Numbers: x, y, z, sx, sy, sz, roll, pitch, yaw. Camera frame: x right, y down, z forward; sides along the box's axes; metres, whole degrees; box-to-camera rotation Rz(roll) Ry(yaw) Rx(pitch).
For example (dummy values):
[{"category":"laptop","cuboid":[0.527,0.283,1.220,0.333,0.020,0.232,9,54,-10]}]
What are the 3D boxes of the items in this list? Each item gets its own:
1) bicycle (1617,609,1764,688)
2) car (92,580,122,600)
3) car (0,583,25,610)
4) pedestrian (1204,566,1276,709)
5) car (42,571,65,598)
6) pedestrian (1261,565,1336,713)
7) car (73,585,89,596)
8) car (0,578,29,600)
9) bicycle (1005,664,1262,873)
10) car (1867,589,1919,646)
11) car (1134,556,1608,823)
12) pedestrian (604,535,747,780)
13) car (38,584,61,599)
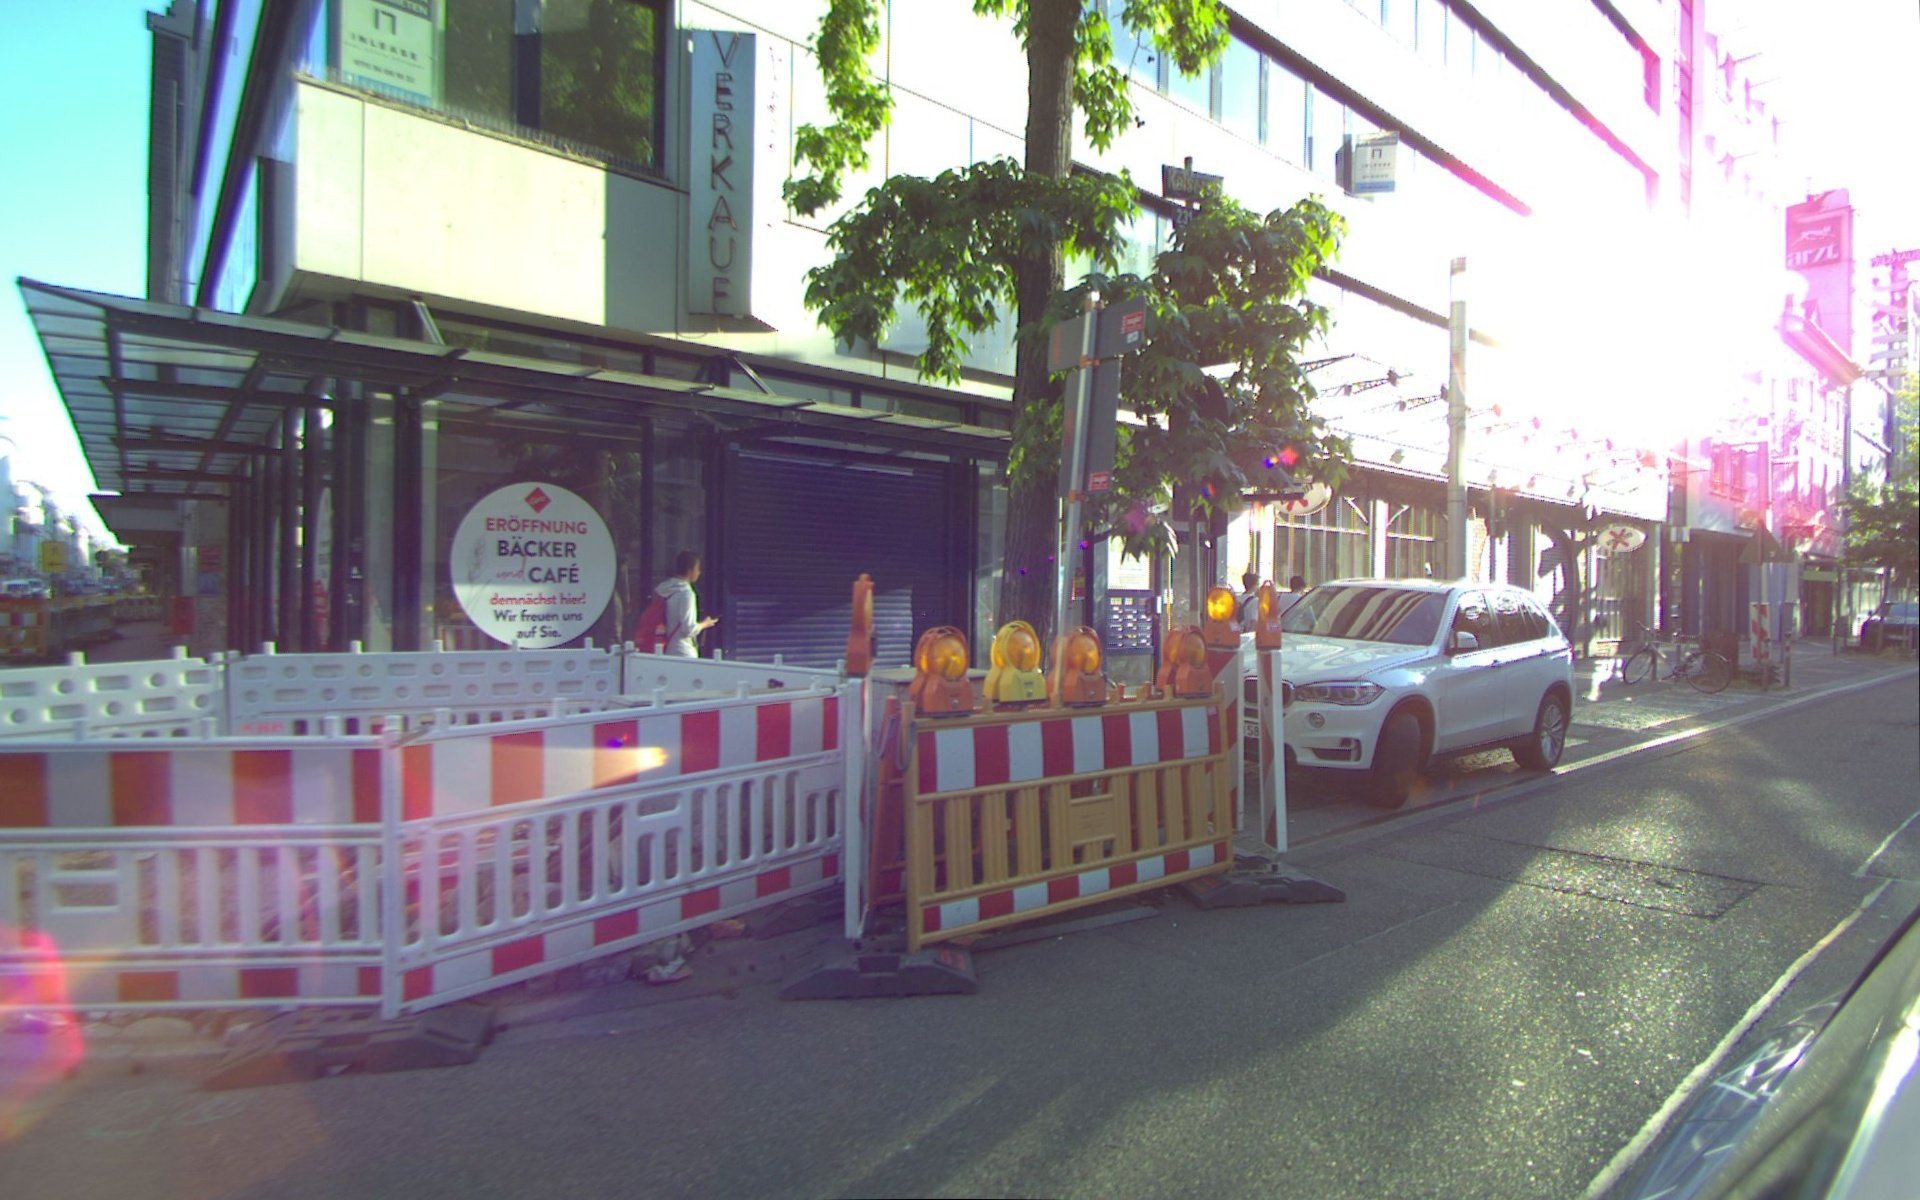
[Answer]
[{"category":"bicycle","cuboid":[12.323,0.779,17.127,0.824,1.148,1.821,-1,3,-32]},{"category":"car","cuboid":[-69.124,-0.815,82.016,1.796,1.638,4.079,0,0,-40]},{"category":"car","cuboid":[-60.428,-0.245,63.889,1.796,1.638,4.079,0,0,-40]},{"category":"pedestrian","cuboid":[3.765,0.483,13.613,0.623,1.853,0.689,0,0,-40]},{"category":"car","cuboid":[-108.513,-1.817,121.197,1.796,3.169,5.088,0,0,-40]},{"category":"pedestrian","cuboid":[4.400,0.483,13.162,0.623,1.853,0.706,0,0,-40]},{"category":"car","cuboid":[-143.999,-1.589,165.776,1.796,1.838,5.088,0,0,-40]},{"category":"car","cuboid":[-69.893,-0.793,74.528,1.796,1.572,4.079,0,0,-40]},{"category":"bicycle","cuboid":[1.123,0.952,6.223,1.897,0.994,0.493,0,1,-42]},{"category":"car","cuboid":[31.416,0.547,33.031,4.787,1.709,1.985,0,3,-40]},{"category":"car","cuboid":[3.934,0.571,9.211,4.822,1.758,2.027,0,3,-42]},{"category":"pedestrian","cuboid":[-2.412,0.440,8.560,0.901,1.921,0.836,1,1,-37]},{"category":"car","cuboid":[-102.147,-0.973,113.563,1.796,1.638,4.079,0,0,-40]}]
